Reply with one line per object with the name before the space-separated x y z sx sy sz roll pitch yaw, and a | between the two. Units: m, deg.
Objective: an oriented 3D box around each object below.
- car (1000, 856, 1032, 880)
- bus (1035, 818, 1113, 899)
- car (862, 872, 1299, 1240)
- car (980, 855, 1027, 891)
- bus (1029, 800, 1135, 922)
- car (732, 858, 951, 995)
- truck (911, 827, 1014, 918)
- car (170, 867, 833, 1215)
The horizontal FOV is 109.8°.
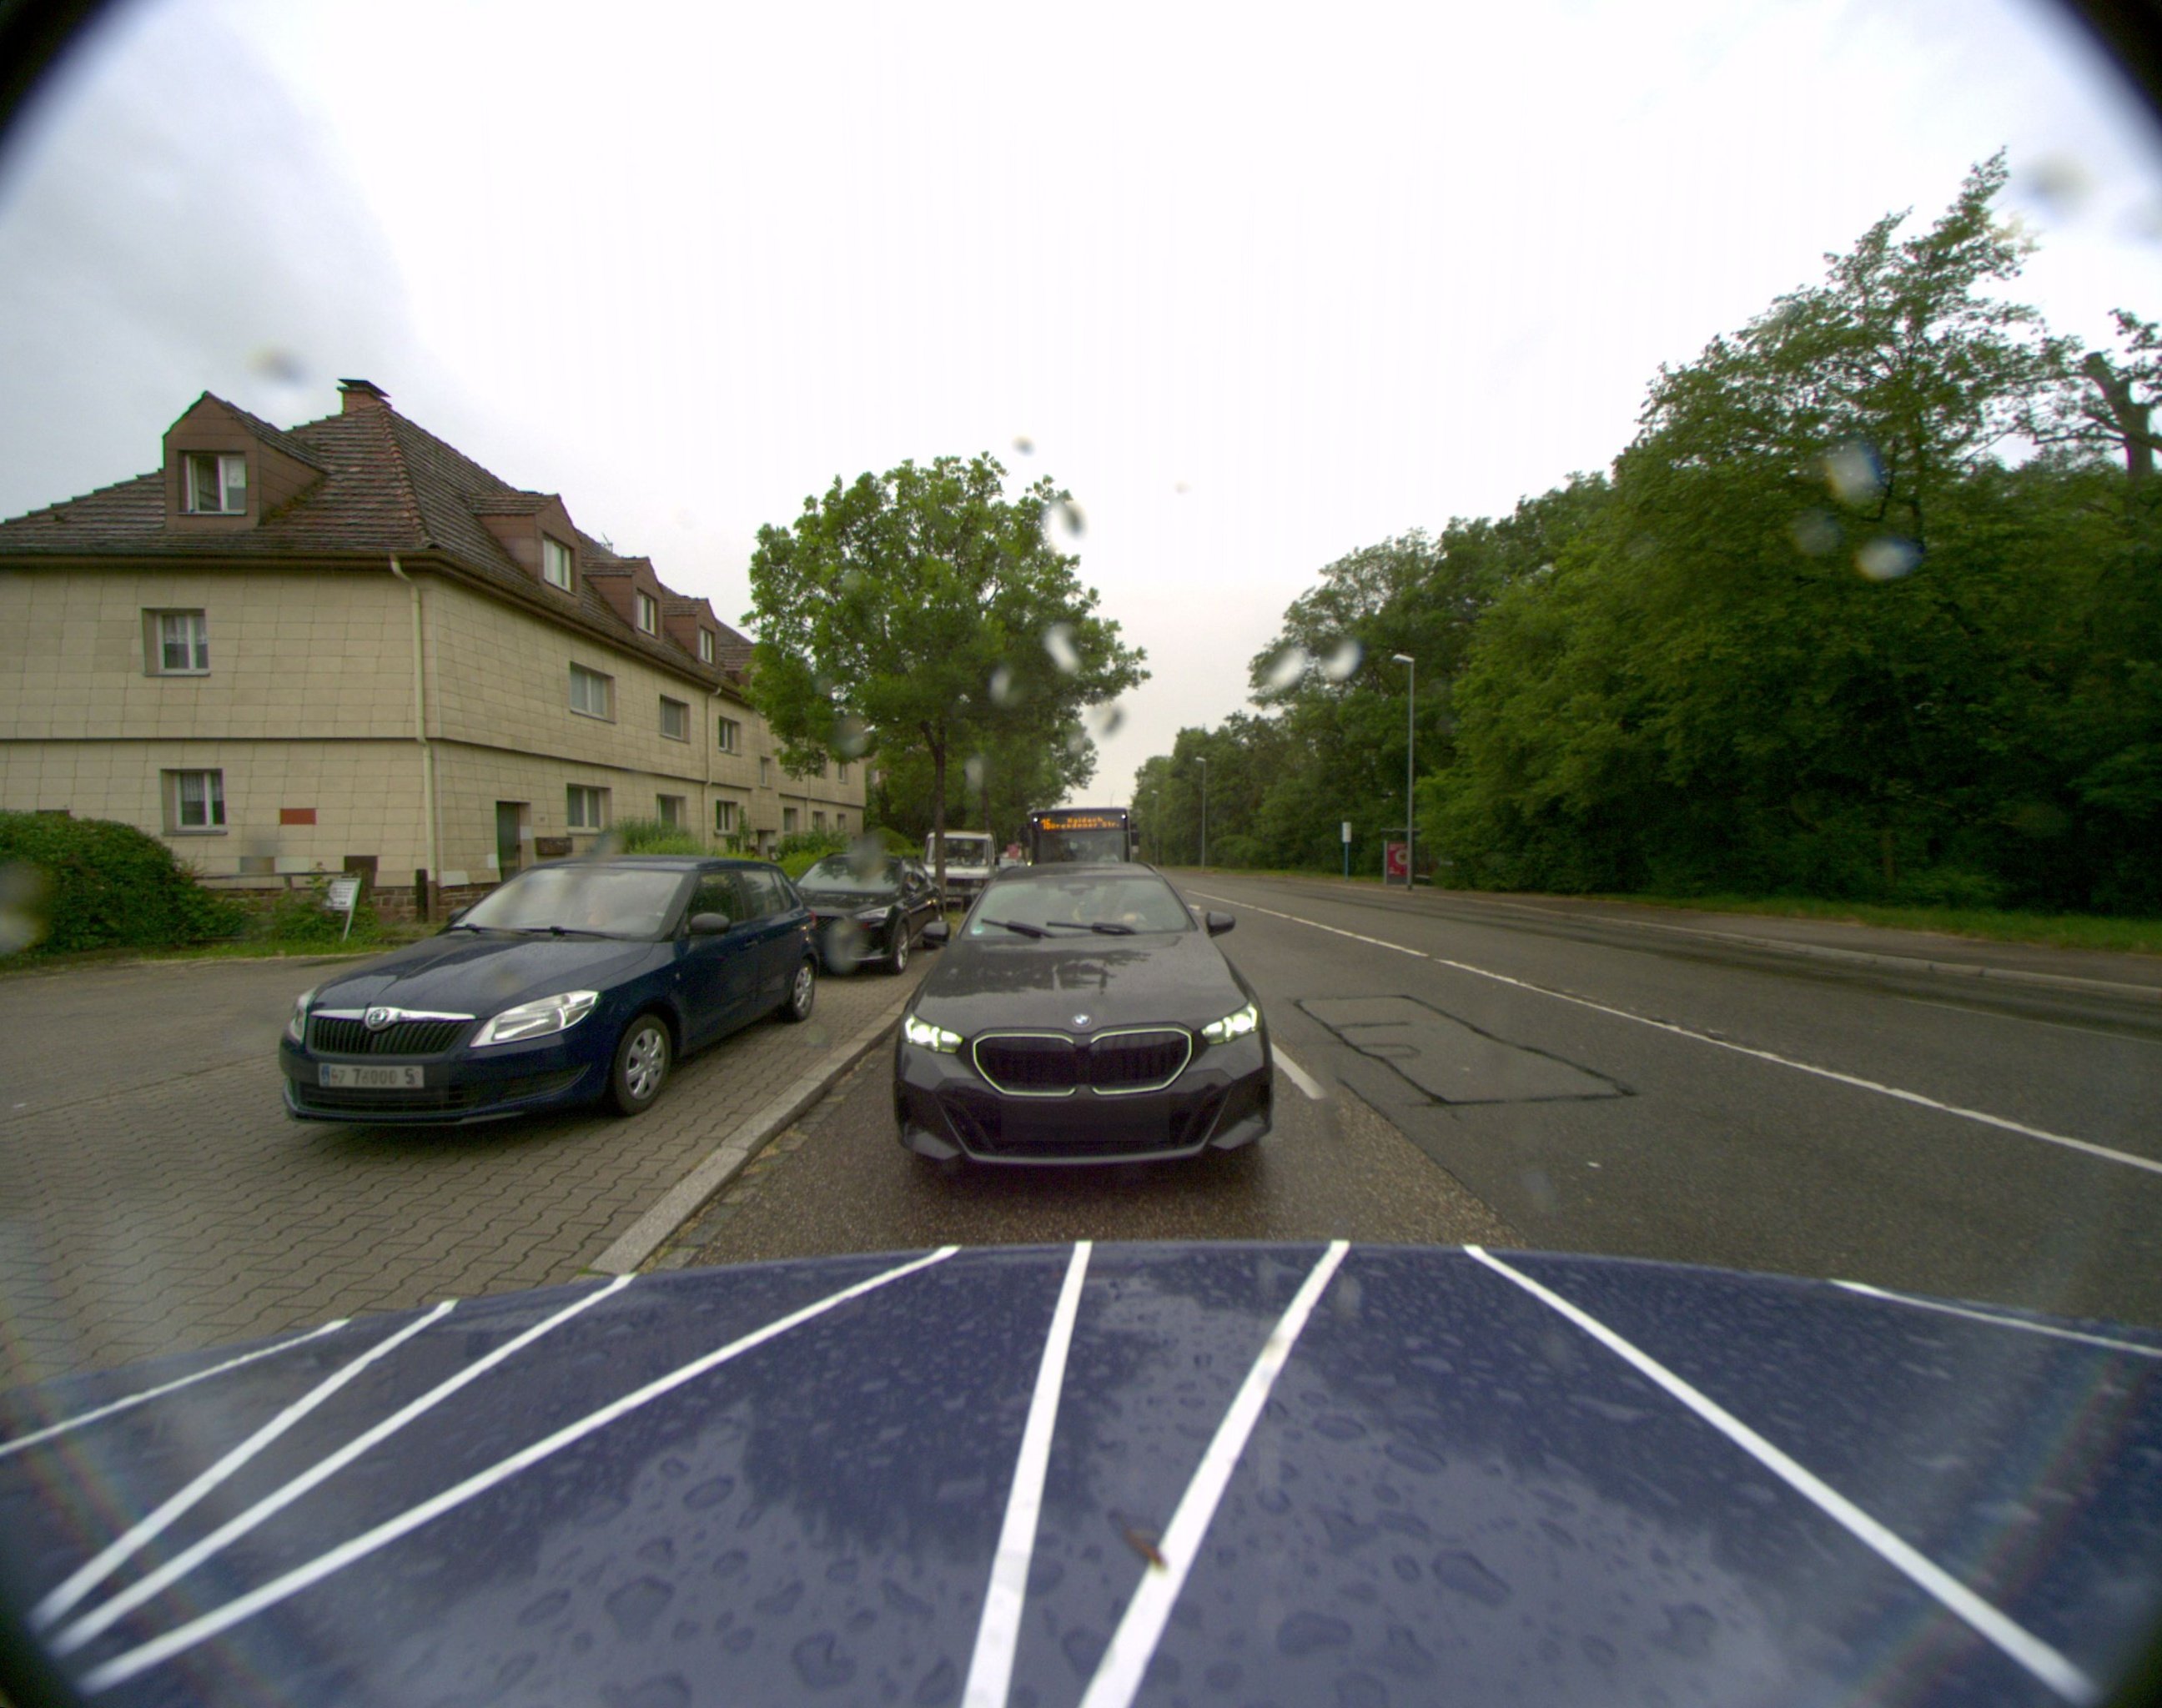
car | -3.947 0.817 46.873 1.692 1.381 4.499 1 0 -1
bus | -0.497 0.179 32.293 2.563 2.942 8.553 -1 0 -5
car | -0.014 0.923 5.523 1.855 1.461 4.483 -1 0 0
car | -3.342 0.889 33.325 1.605 1.427 4.023 3 -3 0
bus | -0.058 0.173 23.422 2.563 2.942 9.448 -1 0 -1
car | -3.080 0.832 10.732 1.718 1.490 4.183 2 0 0
truck | -3.254 0.457 22.305 2.085 2.208 6.500 2 0 -1
car | -3.217 0.862 5.307 1.608 1.463 3.856 1 0 1
